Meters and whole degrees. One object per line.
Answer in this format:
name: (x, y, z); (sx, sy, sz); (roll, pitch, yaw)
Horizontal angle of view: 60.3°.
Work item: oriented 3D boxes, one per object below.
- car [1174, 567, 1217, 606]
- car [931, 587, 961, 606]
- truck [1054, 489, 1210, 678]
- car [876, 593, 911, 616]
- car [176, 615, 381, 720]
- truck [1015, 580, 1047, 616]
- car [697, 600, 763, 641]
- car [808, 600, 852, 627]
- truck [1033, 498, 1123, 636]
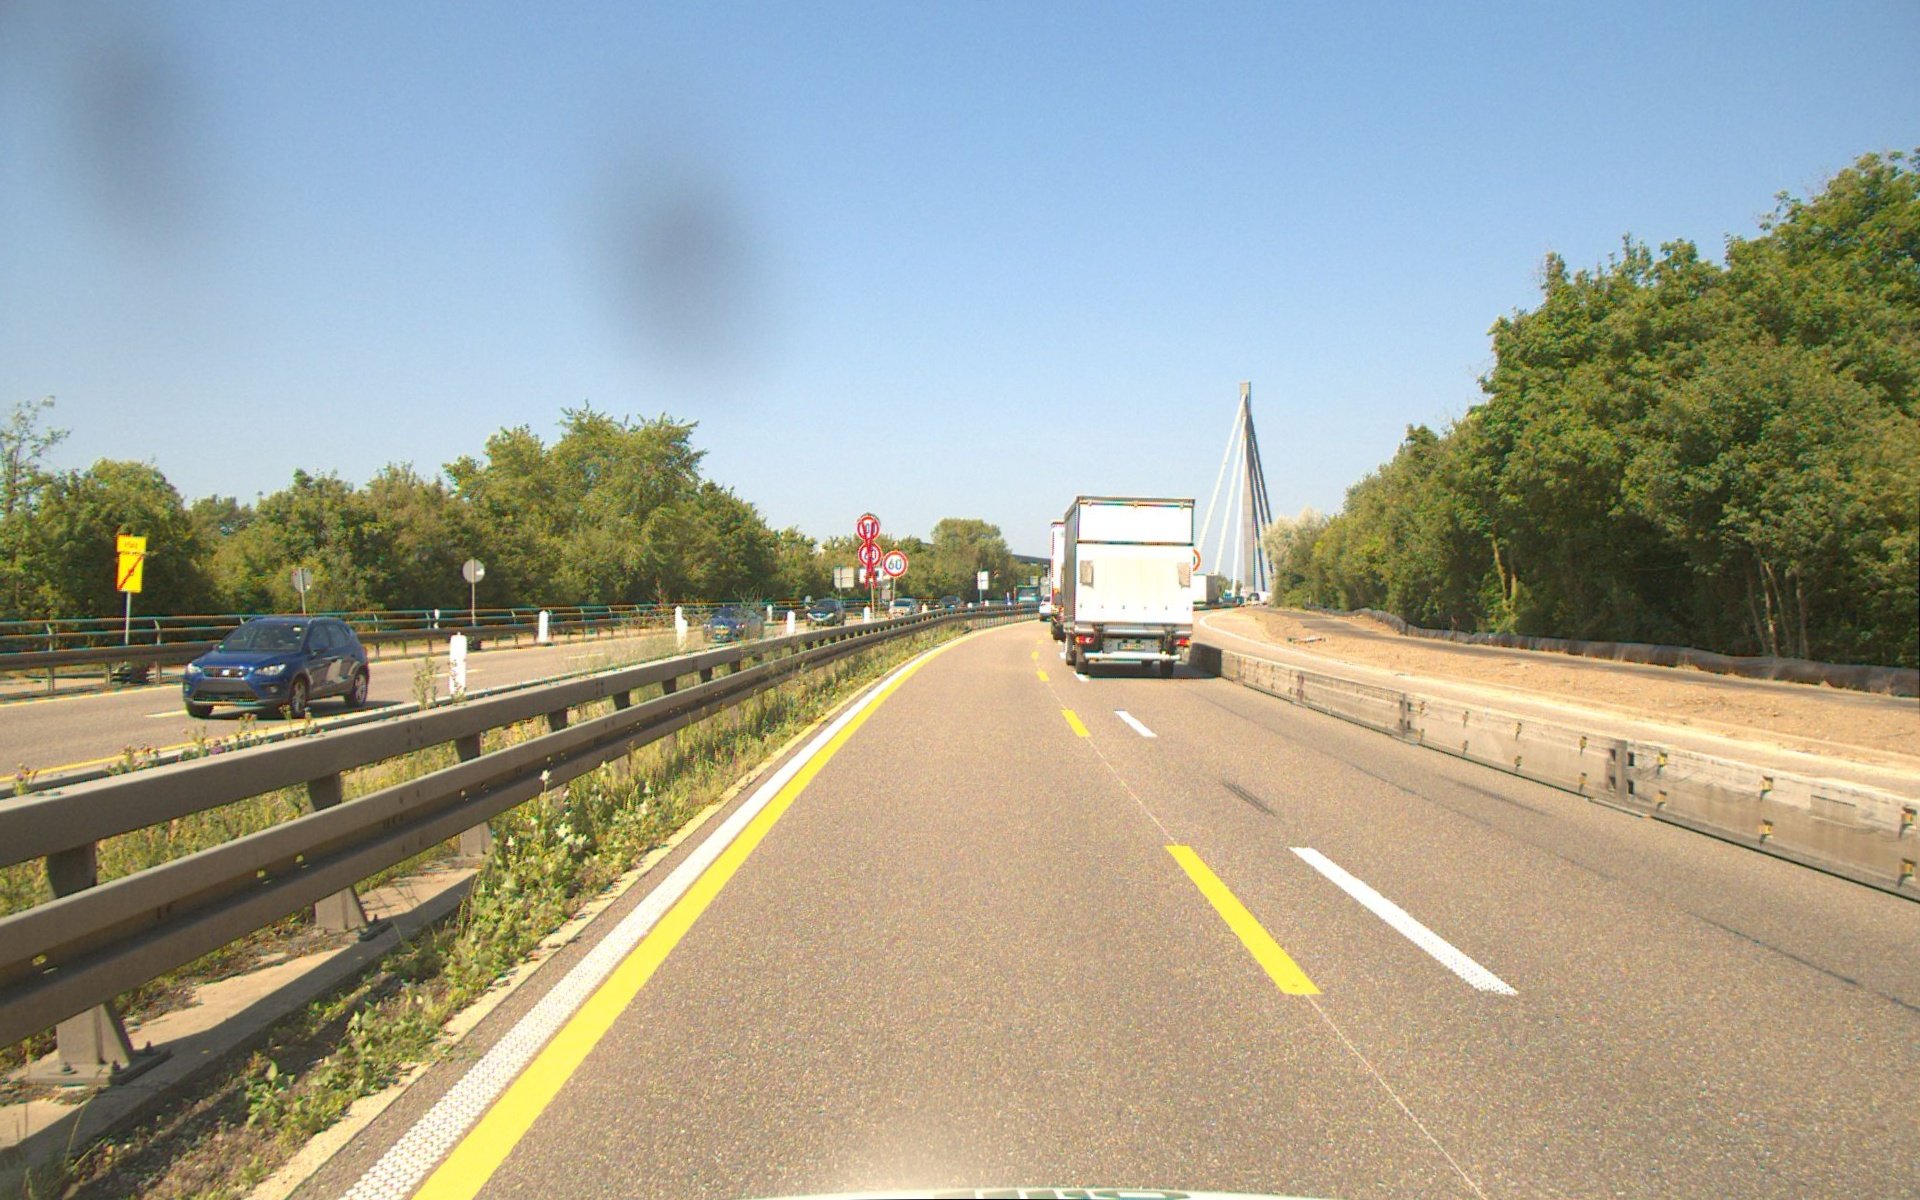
car: (28.124, -1.681, 197.120); (4.117, 4.325, 10.671); (-2, 1, 13)
car: (-1.216, -0.296, 145.509); (1.951, 1.579, 4.004); (-1, 0, 10)
truck: (3.428, -0.327, 34.575); (2.580, 3.487, 7.234); (1, 0, 1)
car: (-4.796, 0.337, 120.606); (1.951, 1.579, 4.003); (-1, 0, 6)
car: (-11.140, 1.050, 27.330); (1.702, 1.524, 4.000); (-1, 0, 0)
truck: (7.705, -0.240, 179.733); (2.454, 3.676, 6.199); (-2, 1, 11)
car: (-9.288, 0.799, 67.152); (1.952, 1.579, 4.001); (-1, 0, 2)
car: (-7.791, 0.795, 99.268); (1.951, 1.579, 4.003); (-1, 0, 5)
truck: (4.090, -1.134, 58.643); (2.580, 4.547, 7.233); (1, 0, 0)
